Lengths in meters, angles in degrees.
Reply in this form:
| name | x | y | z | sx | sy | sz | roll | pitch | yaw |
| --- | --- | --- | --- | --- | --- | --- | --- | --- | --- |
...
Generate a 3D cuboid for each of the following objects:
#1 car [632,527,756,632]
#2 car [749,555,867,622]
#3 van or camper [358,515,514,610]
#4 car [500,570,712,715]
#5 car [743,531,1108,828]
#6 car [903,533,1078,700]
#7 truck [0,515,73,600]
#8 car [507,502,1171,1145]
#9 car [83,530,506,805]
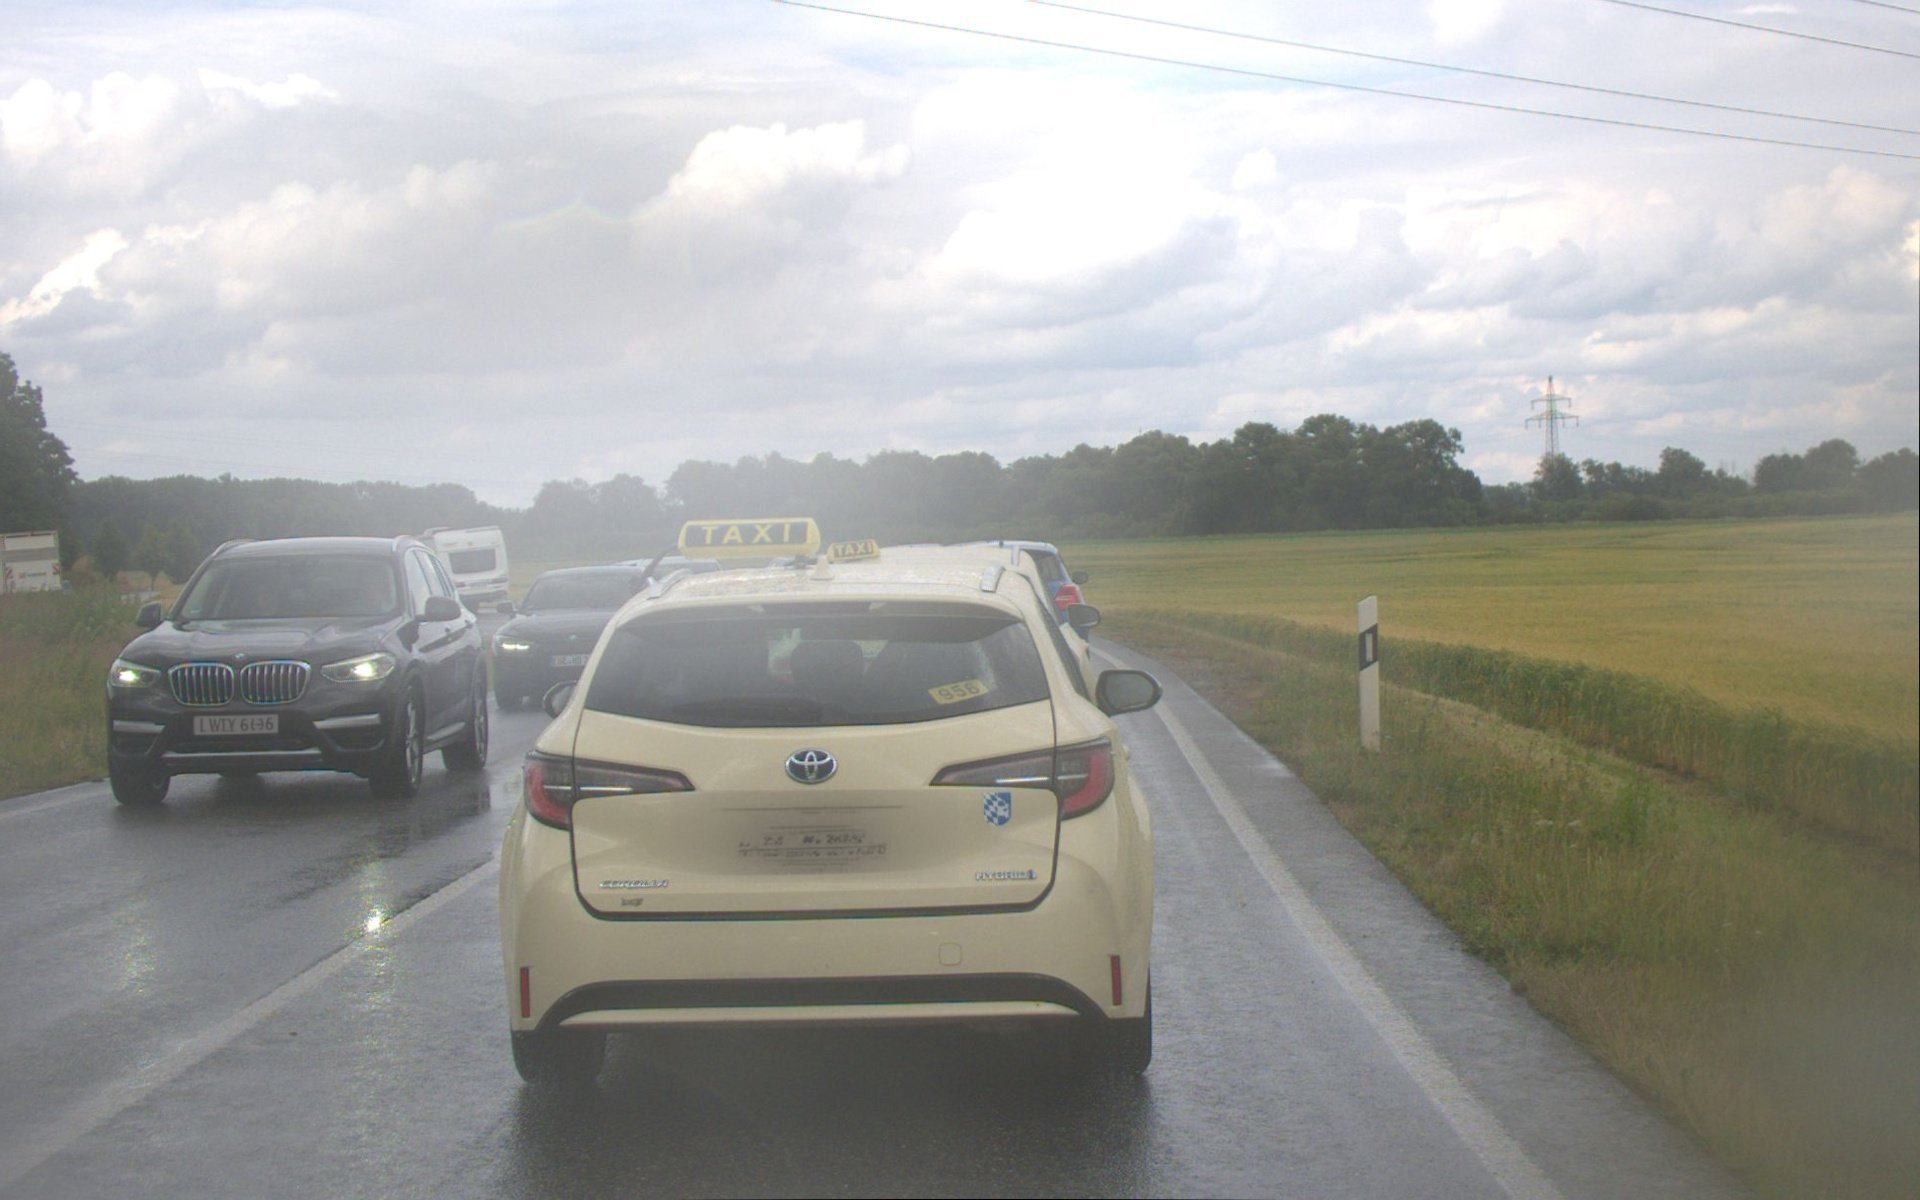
| name | x | y | z | sx | sy | sz | roll | pitch | yaw |
| --- | --- | --- | --- | --- | --- | --- | --- | --- | --- |
| car | -4.370 | -0.346 | 55.992 | 1.909 | 1.604 | 4.091 | -1 | 1 | -6 |
| car | -3.425 | -0.230 | 76.515 | 1.959 | 1.408 | 4.393 | 1 | -1 | -11 |
| van or camper | -16.552 | -1.190 | 108.207 | 2.536 | 2.886 | 6.743 | 1 | 1 | -30 |
| car | -3.794 | 0.425 | 37.476 | 1.849 | 1.443 | 4.091 | -1 | 1 | 0 |
| car | -0.207 | 0.386 | 19.910 | 1.841 | 1.487 | 4.608 | 1 | 1 | -1 |
| car | 0.370 | 0.188 | 36.563 | 1.613 | 1.653 | 3.738 | 1 | -1 | 4 |
| truck | -38.830 | -1.672 | 136.530 | 8.227 | 3.198 | 3.015 | 0 | -1 | 44 |
| car | -0.248 | 0.569 | 10.358 | 1.613 | 1.557 | 3.738 | 1 | -1 | 2 |
| car | -4.277 | 0.379 | 22.815 | 1.849 | 1.626 | 4.534 | 0 | 1 | 1 |
